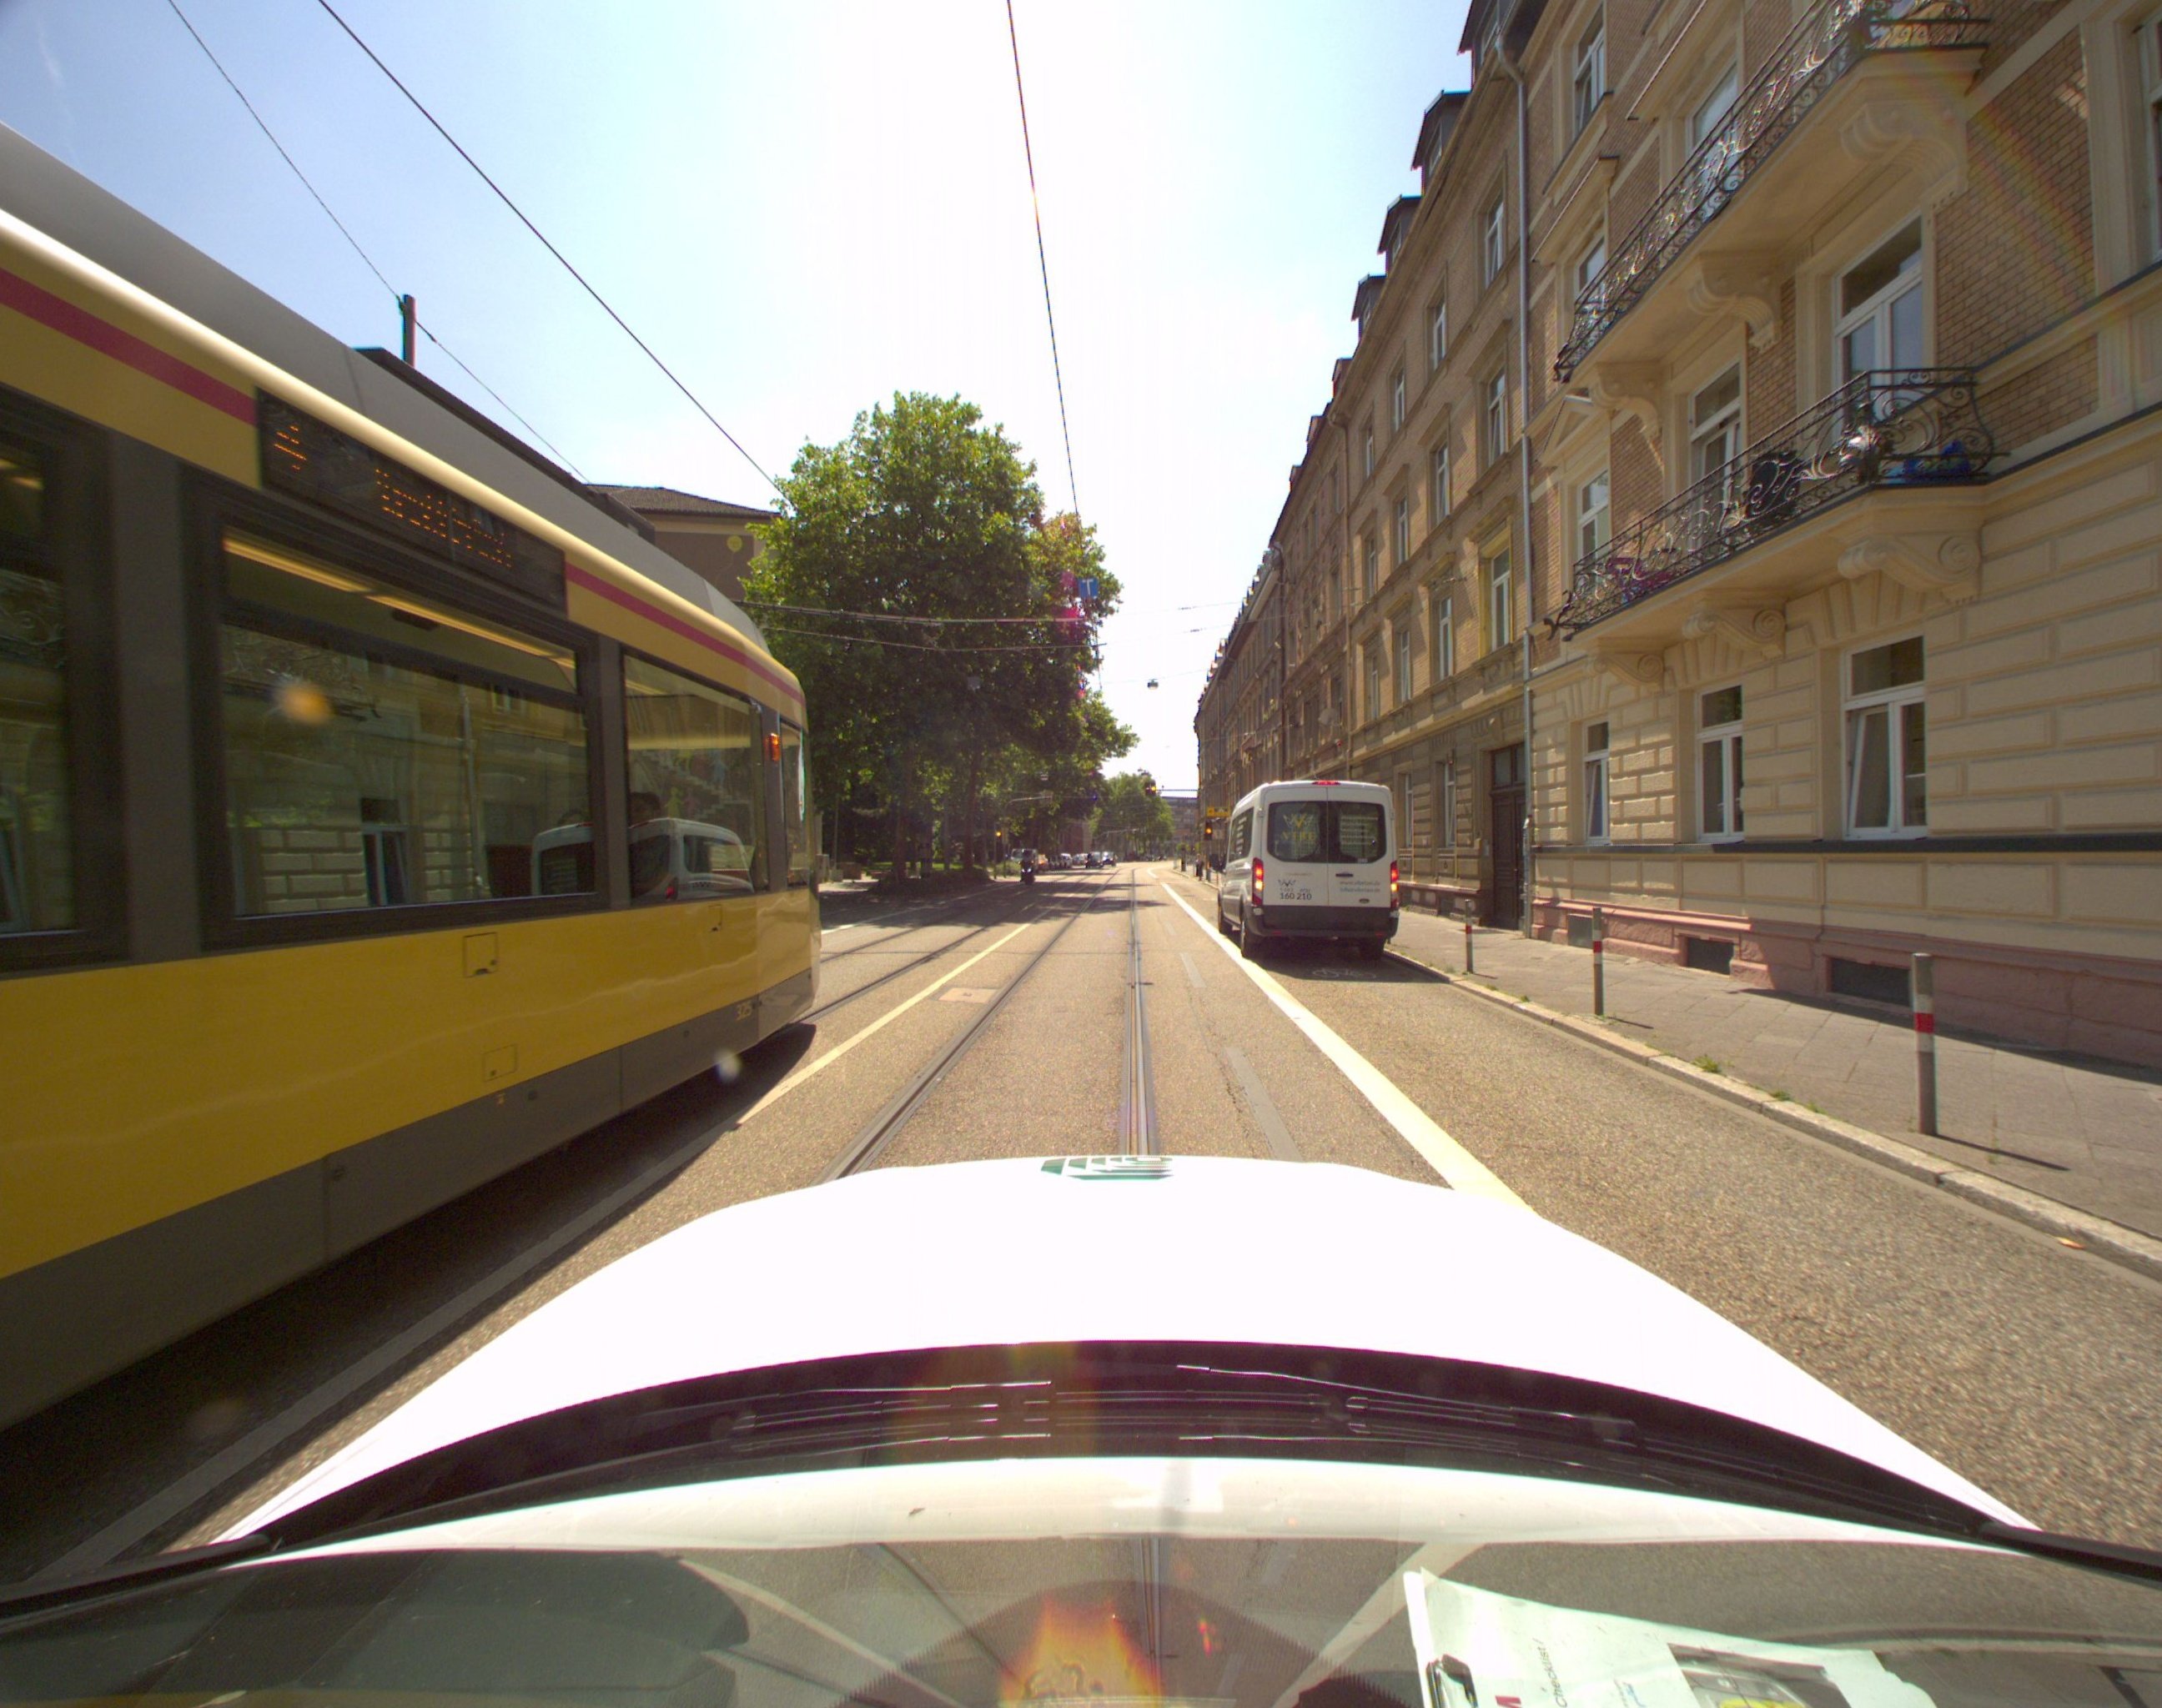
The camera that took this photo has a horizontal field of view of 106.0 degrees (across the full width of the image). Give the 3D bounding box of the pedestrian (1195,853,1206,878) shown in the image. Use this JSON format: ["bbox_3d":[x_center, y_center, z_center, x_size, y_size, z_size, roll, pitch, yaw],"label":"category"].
[{"bbox_3d":[7.178,0.694,48.942,0.616,1.539,0.464,0,0,1],"label":"pedestrian"}]

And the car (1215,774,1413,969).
[{"bbox_3d":[3.450,0.210,13.222,2.058,2.501,5.461,0,0,5],"label":"car"}]

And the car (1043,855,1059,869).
[{"bbox_3d":[-3.075,0.819,84.766,1.449,1.496,3.664,0,0,1],"label":"car"}]

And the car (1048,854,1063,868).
[{"bbox_3d":[-2.799,0.752,90.687,1.449,1.496,3.664,0,0,1],"label":"car"}]

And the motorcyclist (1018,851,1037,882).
[{"bbox_3d":[-2.666,0.612,40.528,0.939,1.532,0.500,0,0,-4],"label":"motorcyclist"}]

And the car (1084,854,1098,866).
[{"bbox_3d":[1.173,0.693,93.283,1.522,1.408,3.491,0,0,1],"label":"car"}]

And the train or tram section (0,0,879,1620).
[{"bbox_3d":[-3.726,-0.226,0.819,2.948,3.580,13.435,0,0,3],"label":"train or tram section"}]

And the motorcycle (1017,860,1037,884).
[{"bbox_3d":[-2.636,0.867,39.982,0.946,1.114,1.600,0,0,-4],"label":"motorcycle"}]

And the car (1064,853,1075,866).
[{"bbox_3d":[-1.631,0.740,113.762,1.449,1.731,3.194,0,0,1],"label":"car"}]

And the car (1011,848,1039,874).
[{"bbox_3d":[-4.358,0.539,64.159,1.794,1.923,4.001,0,0,1],"label":"car"}]

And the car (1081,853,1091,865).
[{"bbox_3d":[0.718,0.720,124.154,1.449,1.731,3.194,0,0,1],"label":"car"}]

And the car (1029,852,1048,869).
[{"bbox_3d":[-3.853,0.604,74.385,1.449,1.496,3.664,0,0,1],"label":"car"}]

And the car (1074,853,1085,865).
[{"bbox_3d":[-0.250,0.721,119.079,1.449,1.731,3.194,0,0,1],"label":"car"}]

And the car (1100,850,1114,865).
[{"bbox_3d":[3.213,0.463,101.308,1.668,1.860,4.001,0,0,1],"label":"car"}]
